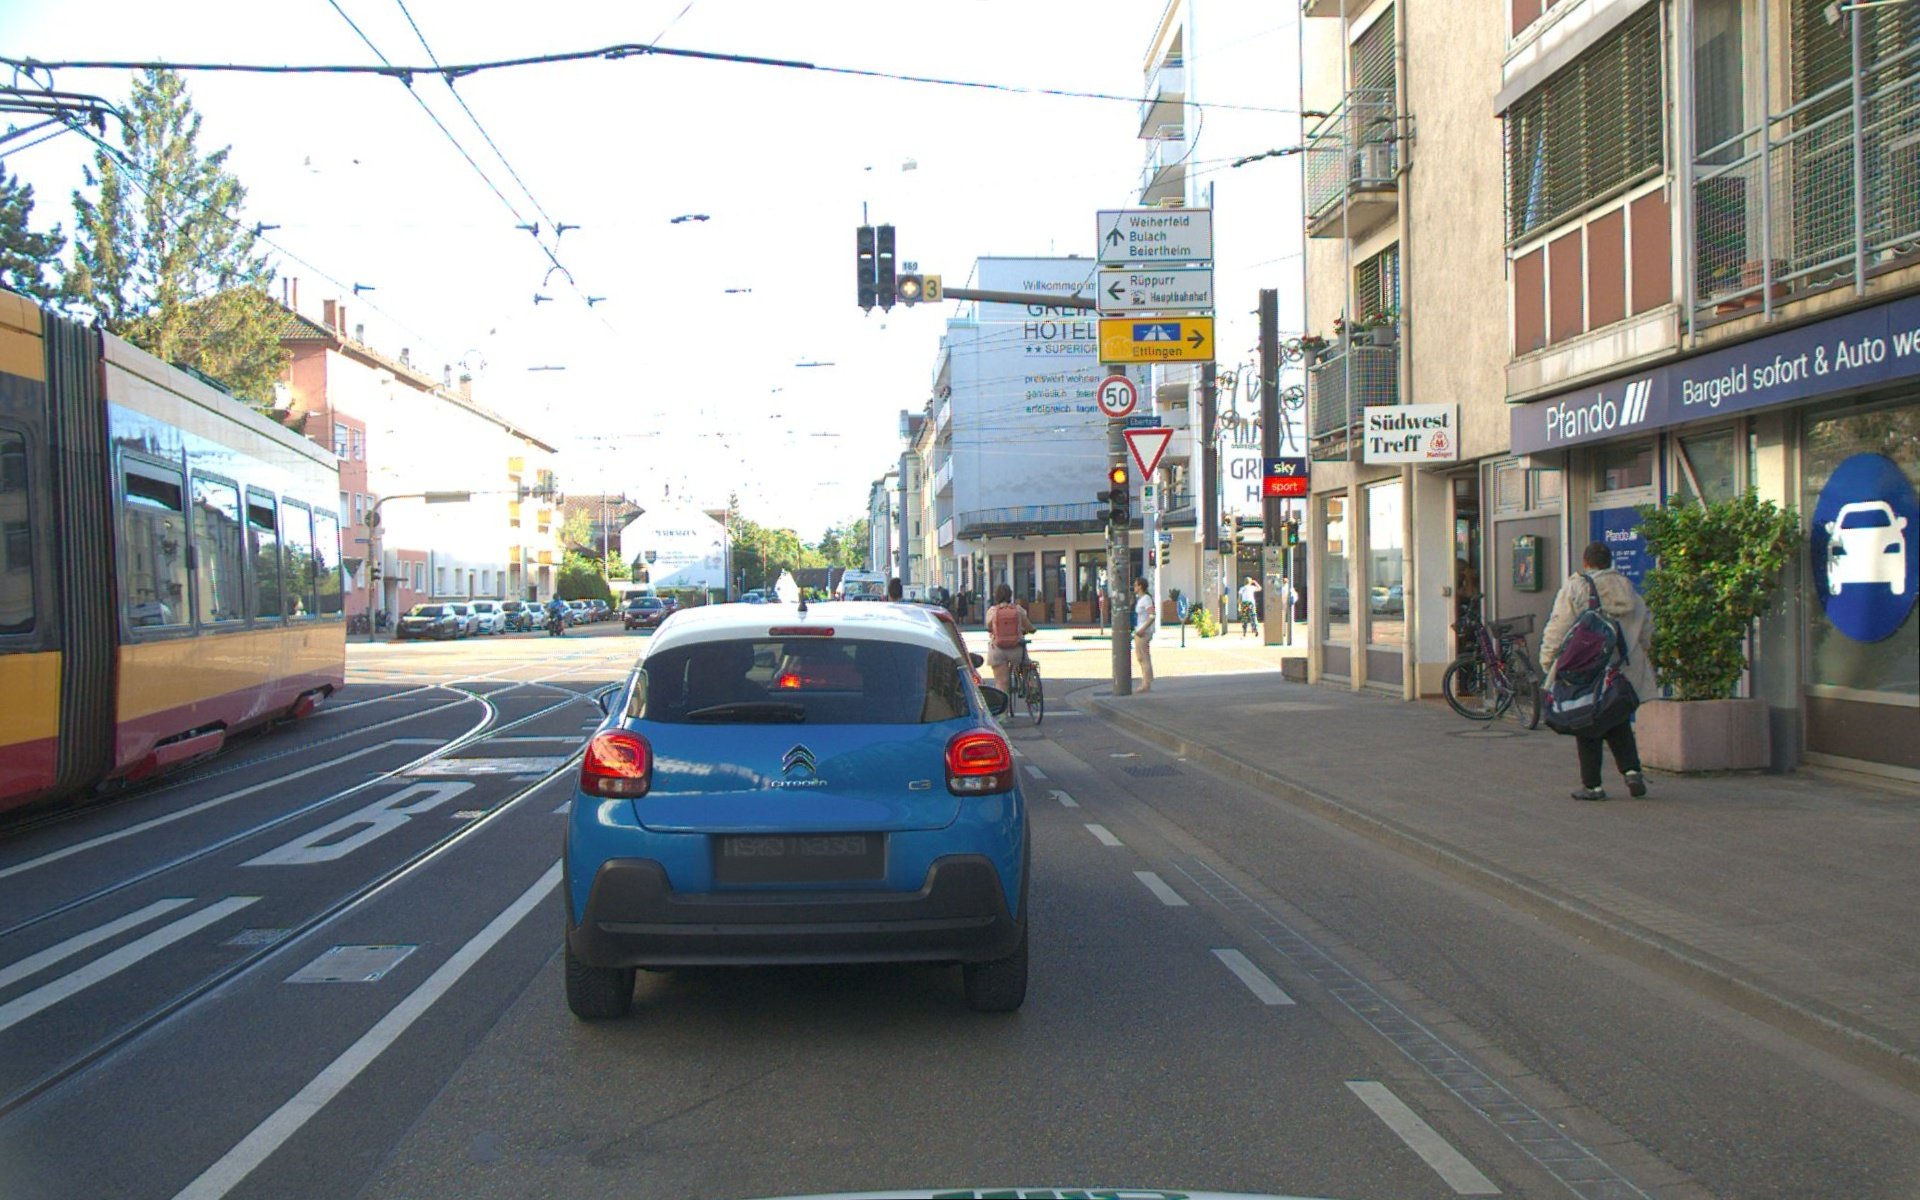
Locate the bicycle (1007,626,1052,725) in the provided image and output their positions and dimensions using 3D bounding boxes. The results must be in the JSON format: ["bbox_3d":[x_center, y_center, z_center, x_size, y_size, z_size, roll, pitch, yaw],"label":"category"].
[{"bbox_3d":[0.848,0.906,20.499,0.419,1.142,1.998,1,0,-1],"label":"bicycle"}]

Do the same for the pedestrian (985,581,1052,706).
[{"bbox_3d":[0.709,0.522,20.210,0.761,1.486,0.681,1,-1,-1],"label":"pedestrian"}]

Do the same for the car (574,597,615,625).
[{"bbox_3d":[-23.322,0.707,105.681,1.944,1.716,3.997,1,0,-4],"label":"car"}]

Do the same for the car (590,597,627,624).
[{"bbox_3d":[-23.564,0.689,110.850,1.845,1.716,3.997,1,0,-4],"label":"car"}]

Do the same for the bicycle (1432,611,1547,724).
[{"bbox_3d":[5.045,0.617,15.855,0.531,1.016,1.705,1,0,-1],"label":"bicycle"}]

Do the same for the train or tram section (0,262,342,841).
[{"bbox_3d":[-7.734,-0.333,14.807,2.776,3.694,9.055,1,0,-12],"label":"train or tram section"}]

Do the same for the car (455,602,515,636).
[{"bbox_3d":[-22.630,0.892,78.923,1.751,1.537,4.148,1,0,-2],"label":"car"}]

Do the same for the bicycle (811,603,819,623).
[{"bbox_3d":[-7.001,0.631,79.860,0.342,0.919,1.857,1,0,-6],"label":"bicycle"}]

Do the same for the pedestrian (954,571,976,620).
[{"bbox_3d":[0.211,-0.198,69.718,0.698,2.049,0.755,1,-1,-19],"label":"pedestrian"}]

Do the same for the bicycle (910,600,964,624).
[{"bbox_3d":[-0.921,0.485,65.907,2.093,0.917,0.366,1,-1,-10],"label":"bicycle"}]

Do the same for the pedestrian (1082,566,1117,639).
[{"bbox_3d":[3.962,0.068,47.008,0.907,2.049,0.759,1,-1,-1],"label":"pedestrian"}]

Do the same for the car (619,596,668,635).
[{"bbox_3d":[-14.547,0.694,76.163,1.740,1.695,3.853,1,0,-4],"label":"car"}]

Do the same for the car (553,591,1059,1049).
[{"bbox_3d":[-0.522,0.725,7.147,1.620,1.469,3.522,1,0,-1],"label":"car"}]

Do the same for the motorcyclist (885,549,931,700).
[{"bbox_3d":[-0.611,0.290,19.604,0.516,1.746,0.717,1,-1,-1],"label":"motorcyclist"}]

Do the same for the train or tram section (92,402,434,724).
[{"bbox_3d":[-10.285,-0.401,26.191,2.698,3.695,14.213,1,0,-14],"label":"train or tram section"}]

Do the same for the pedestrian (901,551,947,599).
[{"bbox_3d":[-1.604,-1.082,73.522,1.953,2.049,3.999,1,0,-1],"label":"pedestrian"}]

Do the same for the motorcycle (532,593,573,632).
[{"bbox_3d":[-16.302,0.490,66.238,0.905,1.512,3.723,1,0,-4],"label":"motorcycle"}]

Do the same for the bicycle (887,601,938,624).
[{"bbox_3d":[-1.967,0.503,68.300,2.093,0.917,0.366,1,-1,-10],"label":"bicycle"}]

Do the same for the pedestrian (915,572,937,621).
[{"bbox_3d":[-1.432,-0.142,69.188,0.625,2.049,0.715,1,-1,-37],"label":"pedestrian"}]

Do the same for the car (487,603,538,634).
[{"bbox_3d":[-23.142,0.928,85.678,1.750,1.524,3.997,1,0,-4],"label":"car"}]

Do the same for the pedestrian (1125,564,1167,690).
[{"bbox_3d":[2.722,0.393,24.274,0.507,1.814,0.595,1,-1,-3],"label":"pedestrian"}]

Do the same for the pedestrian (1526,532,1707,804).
[{"bbox_3d":[4.072,0.410,10.309,0.808,1.620,0.751,1,-1,-1],"label":"pedestrian"}]

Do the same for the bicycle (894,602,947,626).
[{"bbox_3d":[-1.601,0.567,67.212,2.093,0.917,0.366,1,-1,-10],"label":"bicycle"}]

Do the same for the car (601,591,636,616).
[{"bbox_3d":[-23.998,0.235,116.323,1.797,1.716,3.997,1,0,-4],"label":"car"}]

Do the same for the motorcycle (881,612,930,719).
[{"bbox_3d":[-0.619,0.732,19.414,0.515,1.159,2.289,1,0,-1],"label":"motorcycle"}]

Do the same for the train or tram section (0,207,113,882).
[{"bbox_3d":[-6.309,-0.287,3.841,3.002,3.656,12.619,-1,0,-4],"label":"train or tram section"}]

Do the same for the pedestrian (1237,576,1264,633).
[{"bbox_3d":[8.354,0.130,47.610,0.720,1.629,0.749,1,-1,12],"label":"pedestrian"}]

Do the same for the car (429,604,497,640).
[{"bbox_3d":[-22.260,0.968,74.276,1.778,1.524,4.299,1,0,-1],"label":"car"}]

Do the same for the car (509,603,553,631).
[{"bbox_3d":[-23.740,0.927,91.674,1.699,1.524,3.996,1,0,-5],"label":"car"}]

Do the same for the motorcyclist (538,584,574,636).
[{"bbox_3d":[-16.288,0.392,66.707,1.162,2.049,1.274,-1,0,-4],"label":"motorcyclist"}]

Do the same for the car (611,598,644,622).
[{"bbox_3d":[-24.297,0.719,120.857,1.809,1.716,3.871,1,0,-4],"label":"car"}]

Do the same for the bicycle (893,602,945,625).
[{"bbox_3d":[-1.675,0.566,67.625,2.093,0.917,0.366,1,-1,-10],"label":"bicycle"}]

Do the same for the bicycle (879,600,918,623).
[{"bbox_3d":[-2.583,0.485,69.361,1.751,0.917,0.365,1,-1,34],"label":"bicycle"}]

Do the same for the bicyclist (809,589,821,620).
[{"bbox_3d":[-7.000,0.211,79.801,0.550,1.503,0.747,1,-1,-5],"label":"bicyclist"}]

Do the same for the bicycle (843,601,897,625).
[{"bbox_3d":[-3.603,0.529,66.166,2.093,0.917,0.366,1,-1,-10],"label":"bicycle"}]

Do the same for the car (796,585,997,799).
[{"bbox_3d":[-0.469,0.659,13.190,1.395,1.493,2.923,-1,0,-1],"label":"car"}]

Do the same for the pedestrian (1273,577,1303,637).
[{"bbox_3d":[9.319,0.197,47.051,0.736,1.686,0.884,1,-1,7],"label":"pedestrian"}]

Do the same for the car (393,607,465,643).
[{"bbox_3d":[-21.959,1.019,68.489,1.757,1.446,3.994,1,0,-2],"label":"car"}]

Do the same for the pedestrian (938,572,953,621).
[{"bbox_3d":[-0.611,-0.158,70.282,0.565,2.049,0.625,1,-1,-3],"label":"pedestrian"}]
